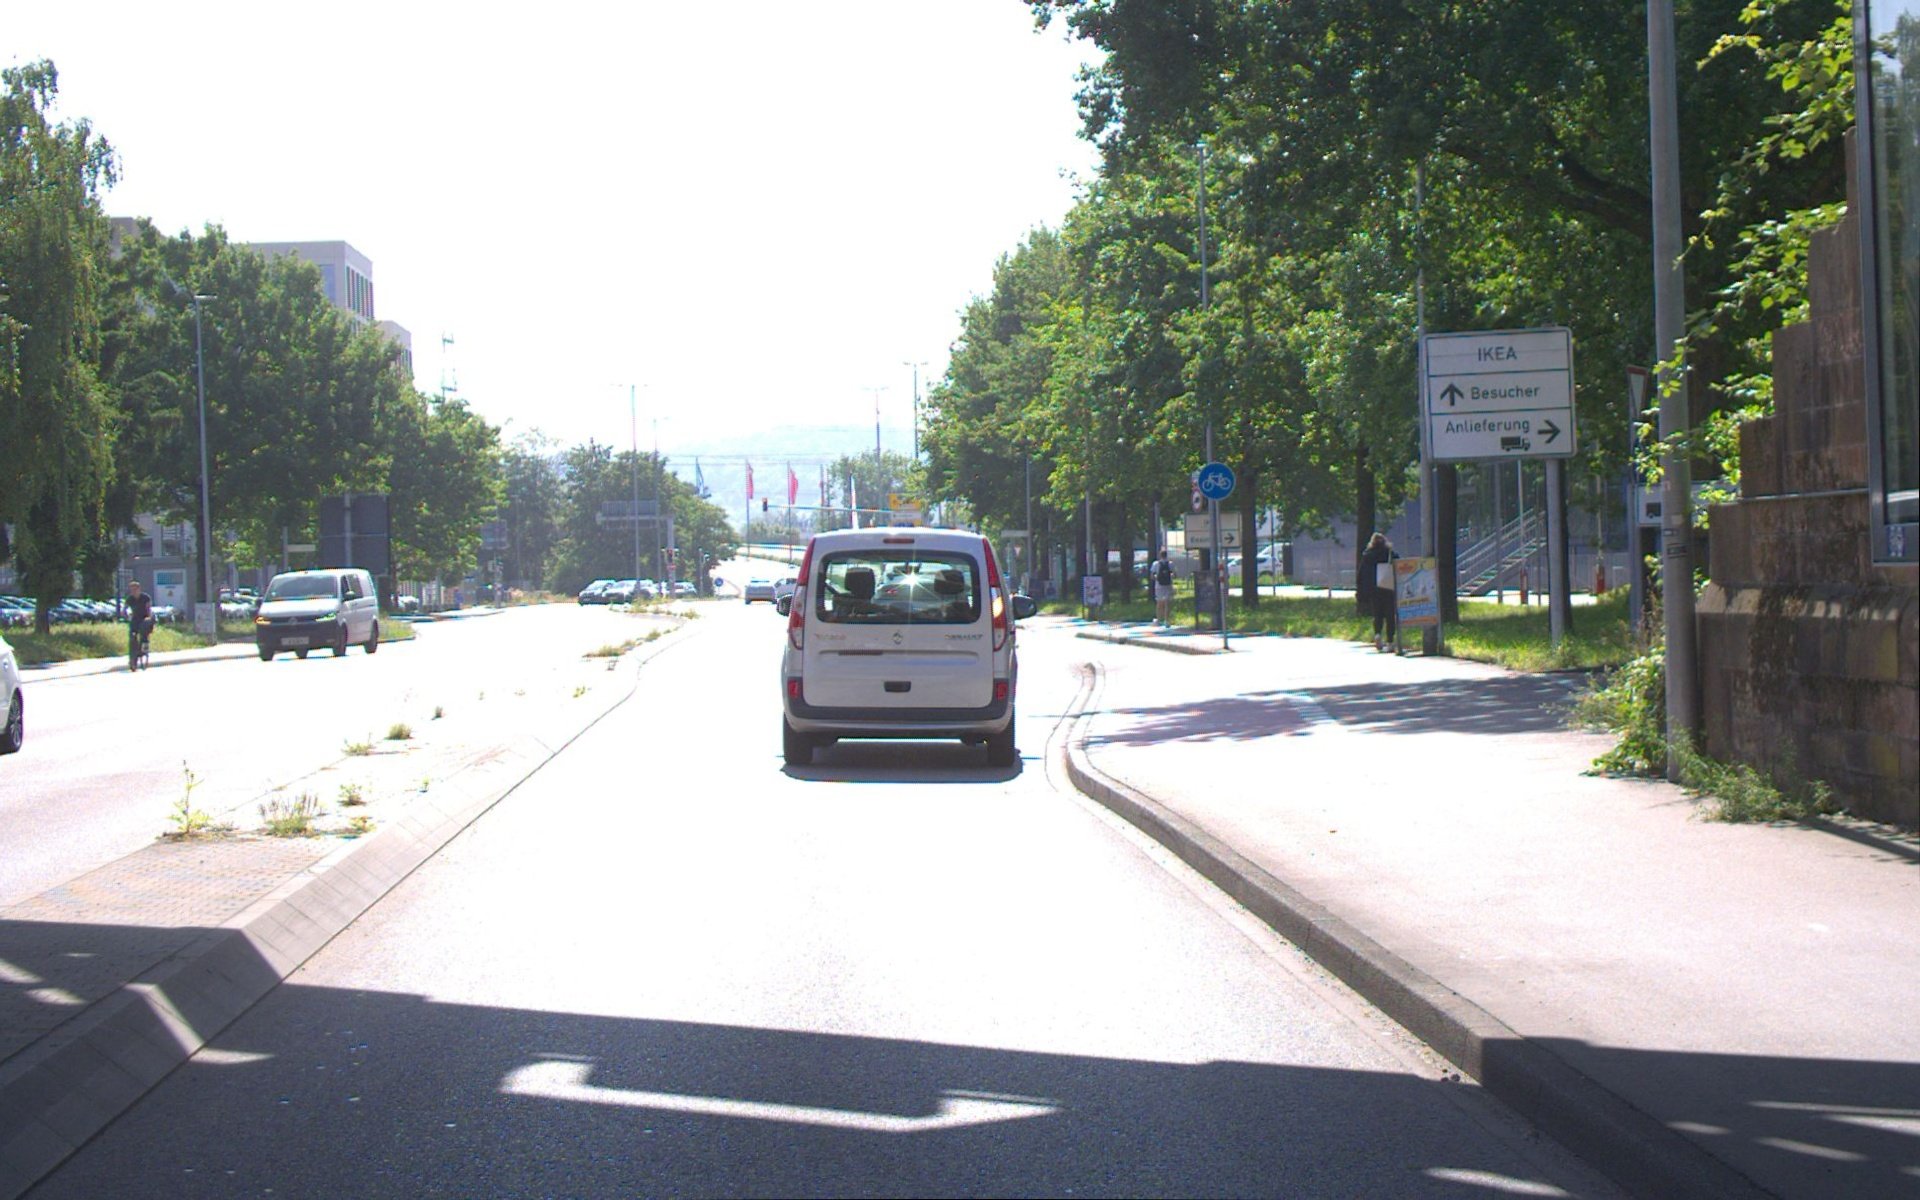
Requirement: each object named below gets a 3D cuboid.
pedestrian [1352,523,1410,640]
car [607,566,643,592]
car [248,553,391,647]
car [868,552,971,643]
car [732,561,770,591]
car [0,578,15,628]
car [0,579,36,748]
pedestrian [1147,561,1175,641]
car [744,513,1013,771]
[{"bbox_3d":[5.841,-0.254,47.738,0.647,1.598,0.847,-2,0,-1],"label":"pedestrian"},{"bbox_3d":[-20.343,-1.275,208.852,1.841,1.458,5.000,-4,0,-2],"label":"car"},{"bbox_3d":[-14.467,-0.034,77.920,1.994,2.007,5.346,-2,1,2],"label":"car"},{"bbox_3d":[-0.748,-0.069,65.960,1.807,1.634,4.459,-2,1,1],"label":"car"},{"bbox_3d":[-12.022,-1.374,197.739,1.993,1.678,4.000,-2,0,-2],"label":"car"},{"bbox_3d":[-28.515,0.123,94.946,4.266,1.376,1.954,-1,0,0],"label":"car"},{"bbox_3d":[-9.447,0.640,30.392,1.642,1.489,3.829,-3,2,-3],"label":"car"},{"bbox_3d":[4.631,0.020,79.201,0.535,1.835,0.728,-2,0,-2],"label":"pedestrian"},{"bbox_3d":[-0.650,0.293,27.050,1.905,1.822,4.180,-2,0,-2],"label":"car"}]
